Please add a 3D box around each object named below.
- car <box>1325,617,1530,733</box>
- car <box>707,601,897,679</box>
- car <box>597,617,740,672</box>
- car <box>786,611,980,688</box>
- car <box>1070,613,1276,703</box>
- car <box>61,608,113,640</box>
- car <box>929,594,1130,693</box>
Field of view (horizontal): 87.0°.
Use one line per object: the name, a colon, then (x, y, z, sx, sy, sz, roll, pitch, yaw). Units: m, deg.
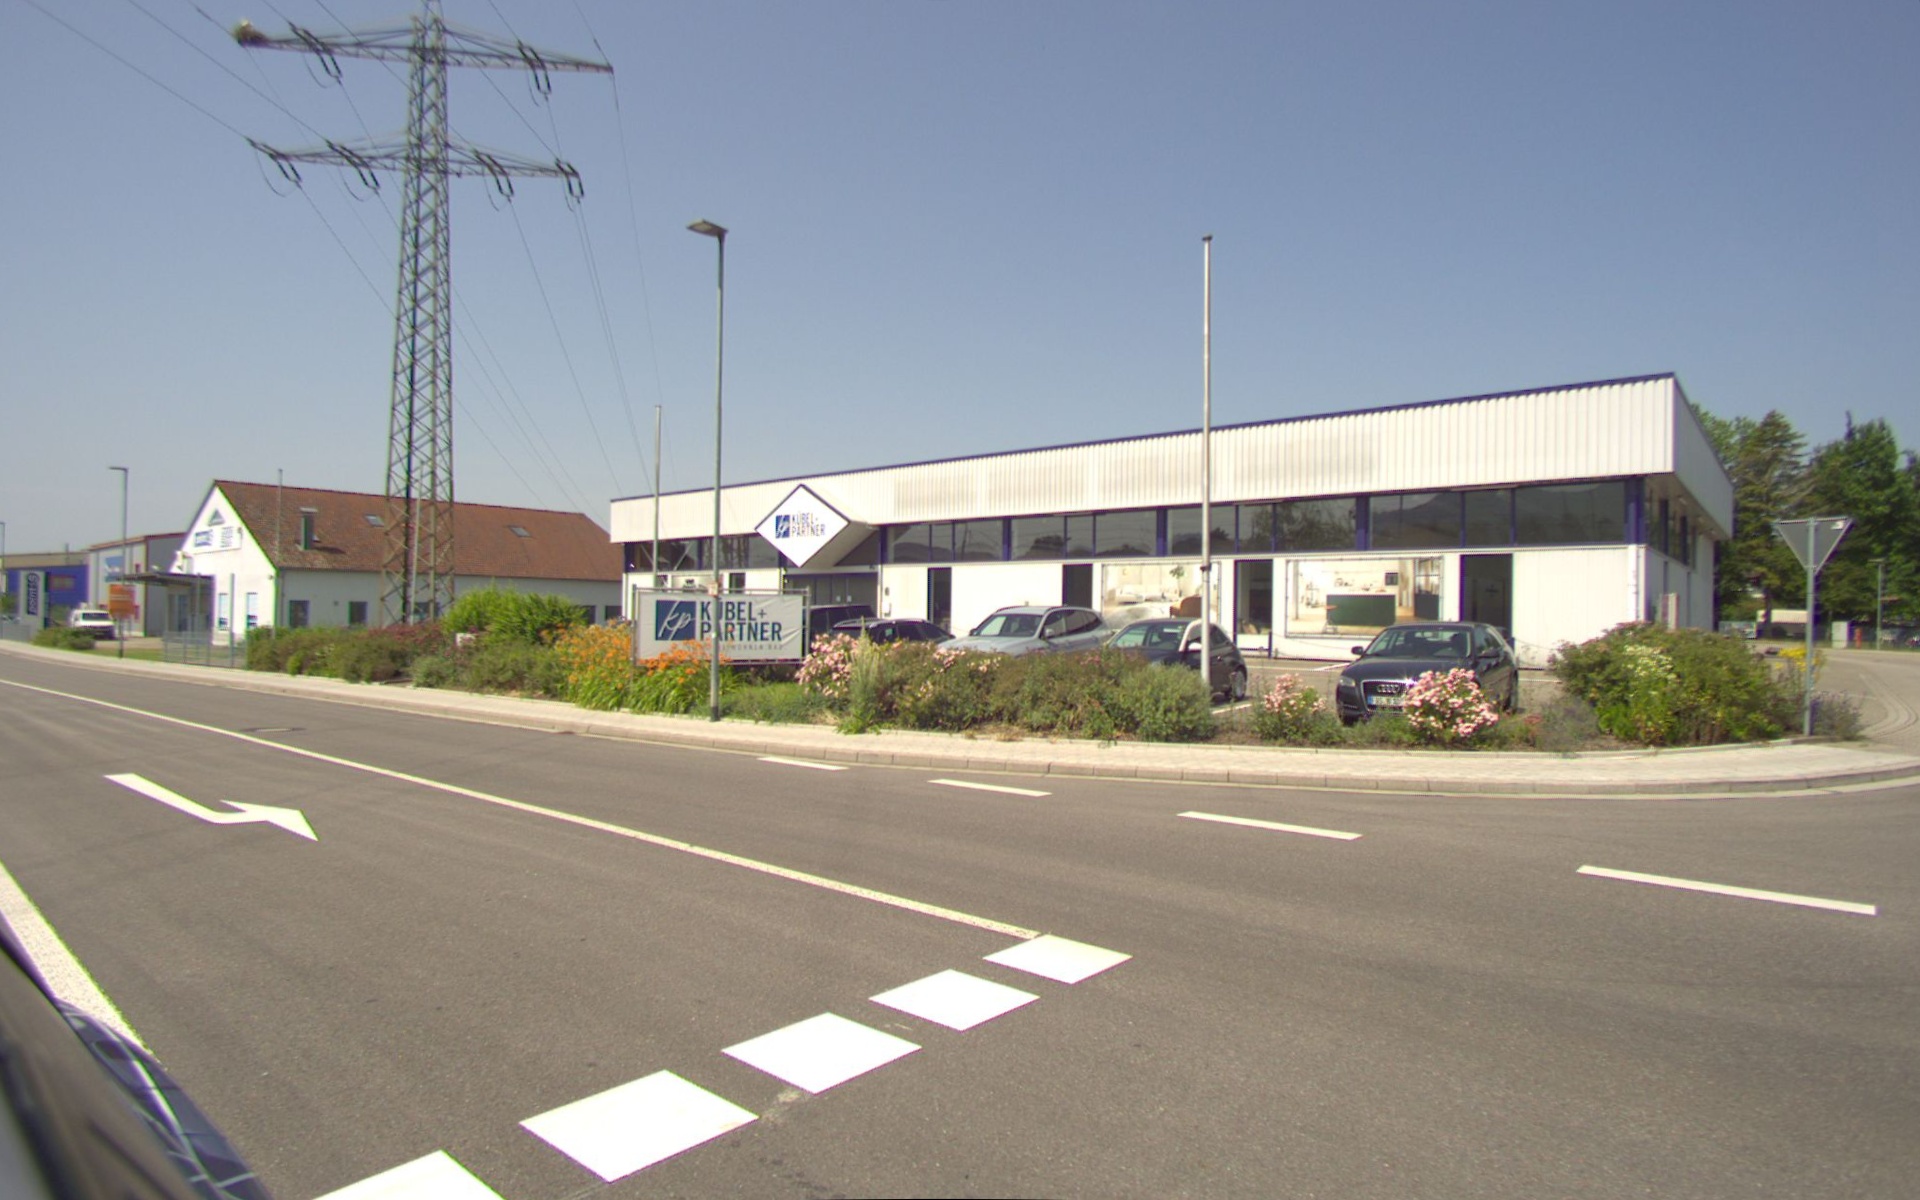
car: (6.809, 1.000, 14.511, 1.831, 1.405, 4.184, -1, -3, 37)
car: (-3.503, 0.914, 23.077, 1.831, 1.608, 4.184, -1, -3, 37)
car: (-7.767, 1.138, 27.178, 1.503, 1.263, 3.475, -1, 1, 39)
car: (-1.471, 0.989, 20.820, 1.994, 1.425, 3.954, -1, -2, 33)
car: (3.734, 0.941, 17.157, 1.831, 1.325, 4.184, -1, -3, 37)
car: (-58.832, 1.629, 68.175, 4.679, 2.029, 1.972, 0, -2, 42)
car: (1.435, 0.813, 19.205, 1.831, 1.660, 4.184, -1, -3, 37)
